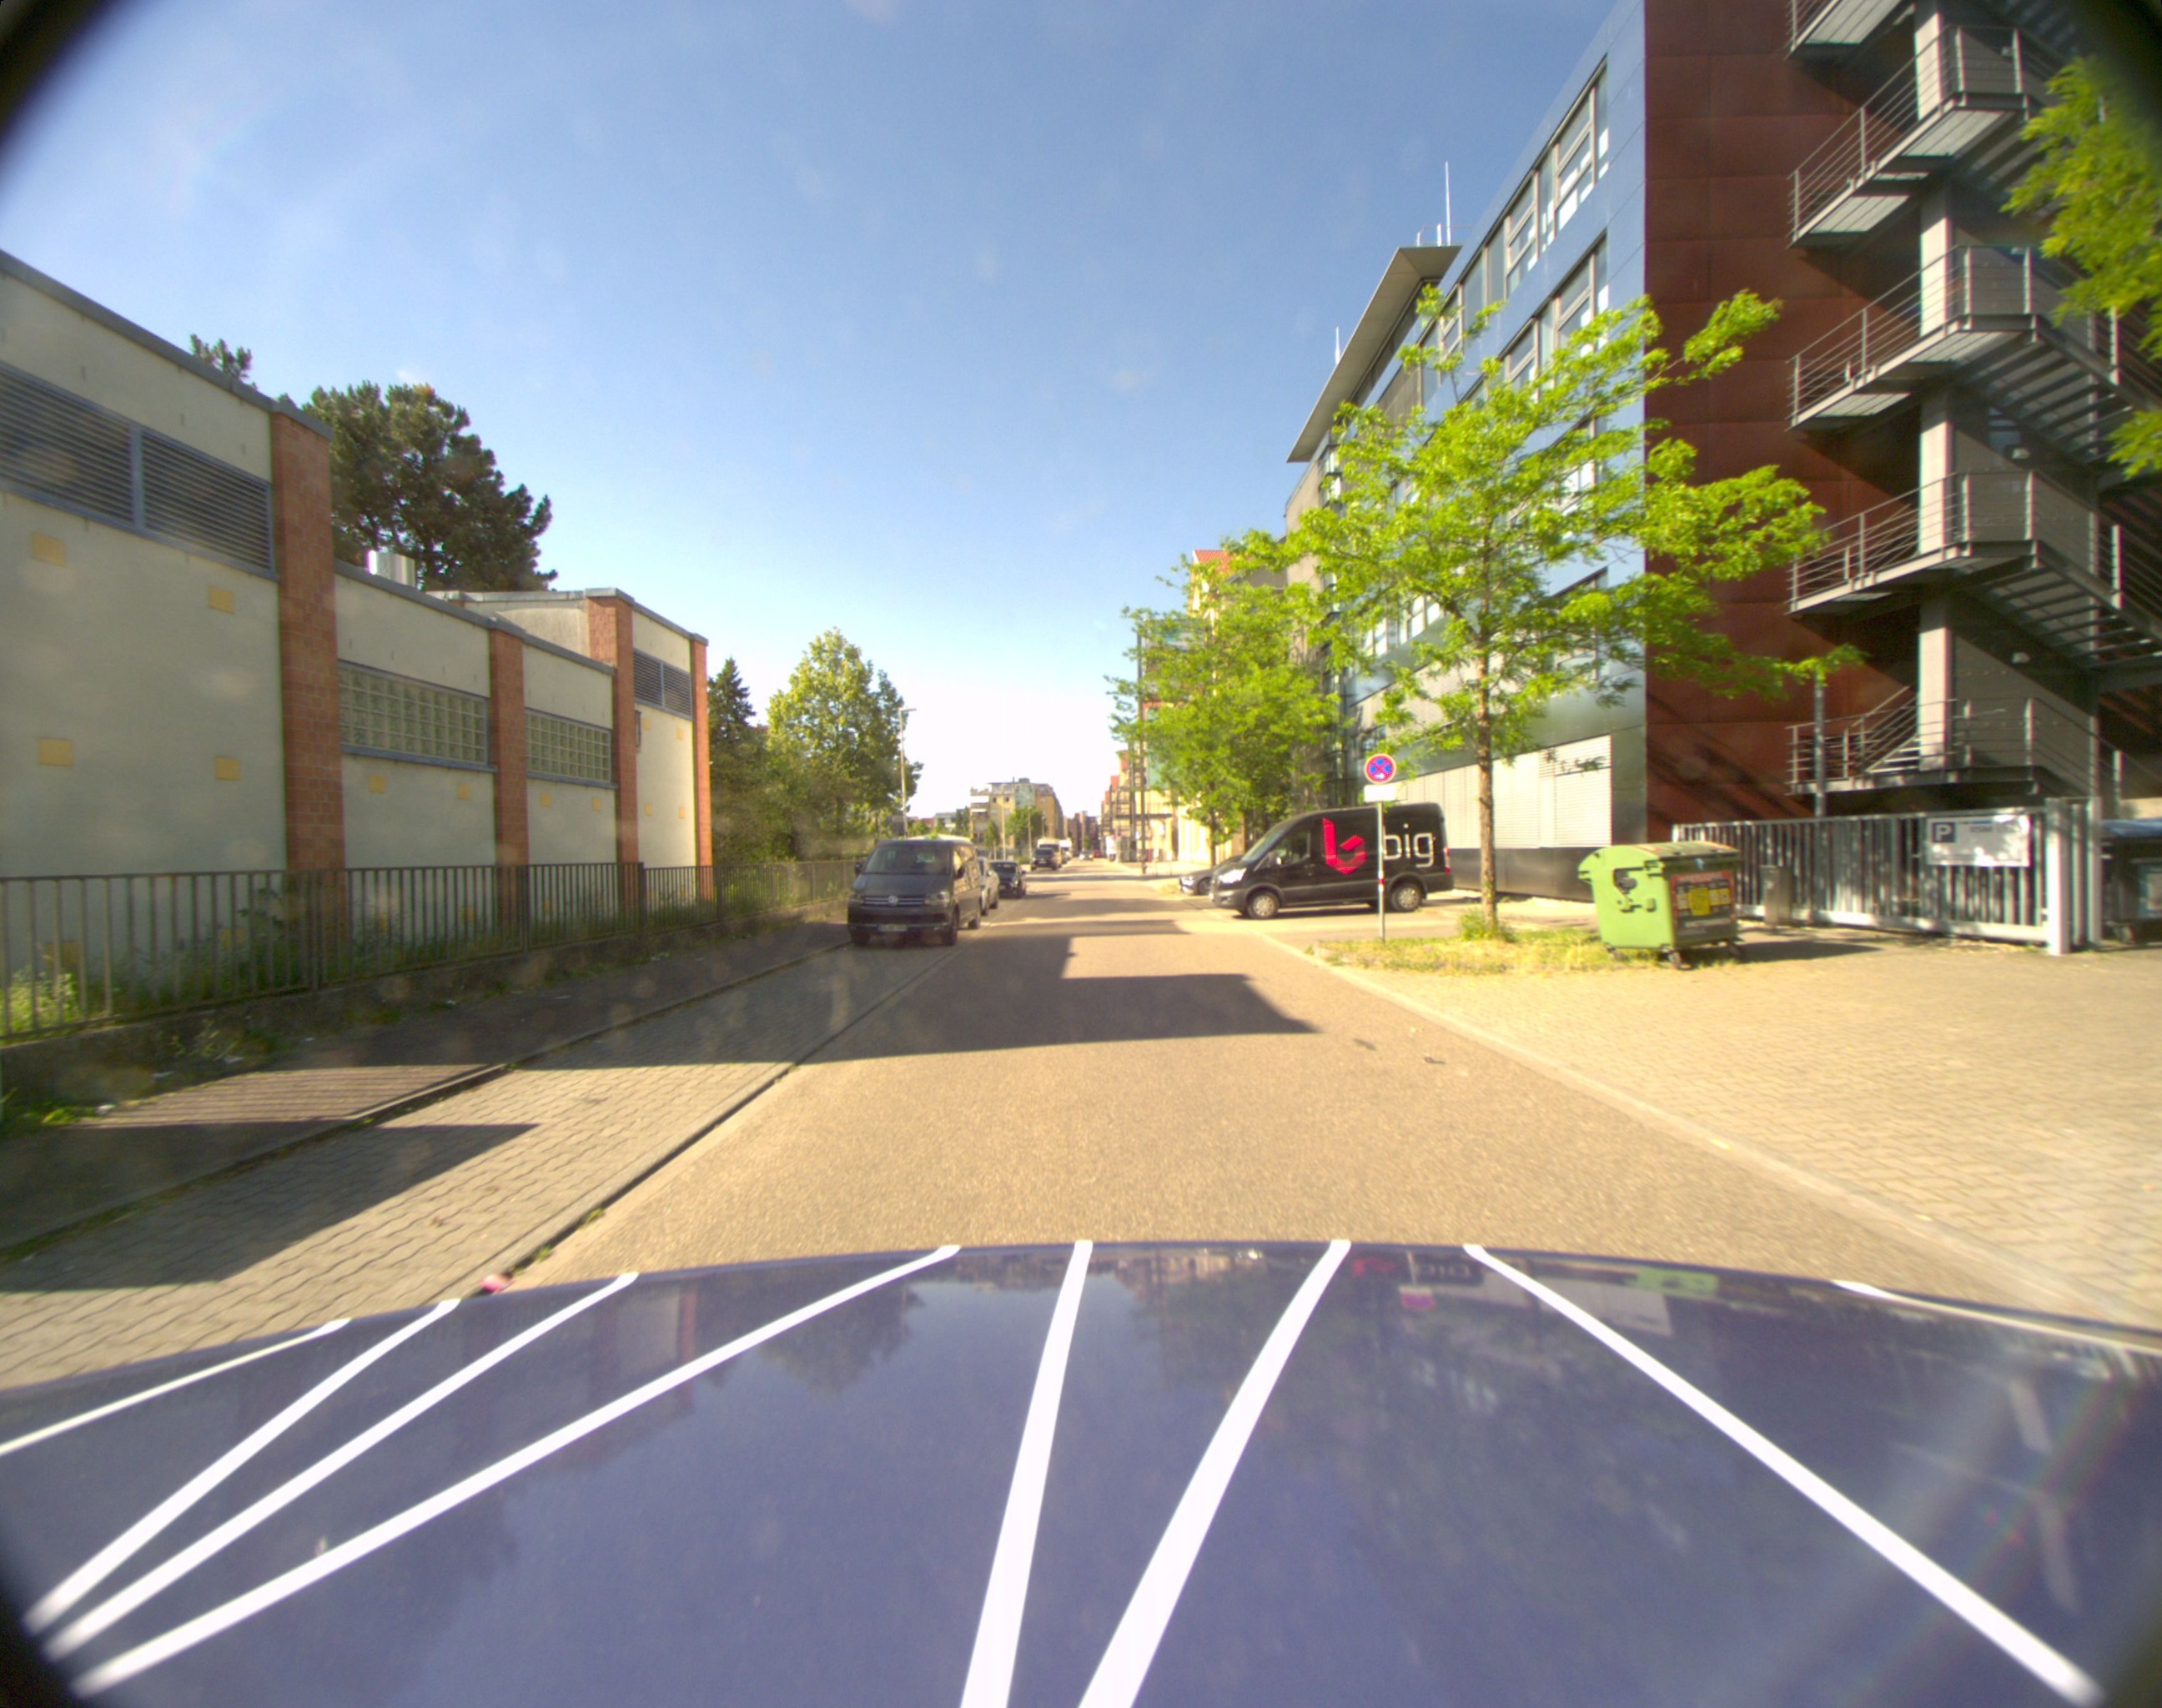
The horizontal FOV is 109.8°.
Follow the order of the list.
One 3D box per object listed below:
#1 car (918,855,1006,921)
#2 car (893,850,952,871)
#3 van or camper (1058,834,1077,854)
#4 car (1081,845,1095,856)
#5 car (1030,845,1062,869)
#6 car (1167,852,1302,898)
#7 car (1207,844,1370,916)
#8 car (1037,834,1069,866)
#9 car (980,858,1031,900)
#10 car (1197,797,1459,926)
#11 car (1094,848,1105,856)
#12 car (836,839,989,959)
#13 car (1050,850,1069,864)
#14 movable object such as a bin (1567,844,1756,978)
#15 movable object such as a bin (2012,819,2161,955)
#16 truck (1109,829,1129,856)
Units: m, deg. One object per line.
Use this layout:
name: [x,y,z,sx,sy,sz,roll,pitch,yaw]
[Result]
car: [-3.311,0.891,21.895,1.830,1.620,4.292,0,1,0]
car: [-13.152,0.525,63.278,4.422,1.600,2.000,-2,1,3]
van or camper: [-2.058,-1.534,115.452,2.722,2.841,5.132,-1,1,-1]
car: [0.944,-0.483,101.091,1.850,1.417,4.224,-1,1,1]
car: [-2.576,0.192,56.664,1.998,1.686,4.103,-1,1,2]
car: [5.616,0.755,28.190,4.546,1.343,1.892,-4,1,0]
car: [5.605,0.665,20.861,3.841,1.636,1.891,-4,1,-1]
car: [-2.326,-0.376,65.471,2.163,2.582,6.284,-2,1,2]
car: [-2.923,0.931,30.107,1.656,1.464,3.763,0,1,0]
car: [5.754,0.159,18.267,5.468,2.608,2.231,-3,1,0]
car: [3.357,-0.407,137.140,1.760,1.440,4.000,-2,1,3]
car: [-3.114,0.714,15.166,1.948,2.010,4.824,0,1,0]
car: [-2.357,0.337,83.895,1.850,1.417,4.225,-2,0,1]
movable object such as a bin: [6.779,0.614,8.932,1.298,1.405,1.226,-2,1,-17]
movable object such as a bin: [12.131,0.343,8.770,1.484,1.478,1.011,-1,2,1]
truck: [5.172,-1.595,103.585,2.498,3.412,7.127,-1,1,3]
